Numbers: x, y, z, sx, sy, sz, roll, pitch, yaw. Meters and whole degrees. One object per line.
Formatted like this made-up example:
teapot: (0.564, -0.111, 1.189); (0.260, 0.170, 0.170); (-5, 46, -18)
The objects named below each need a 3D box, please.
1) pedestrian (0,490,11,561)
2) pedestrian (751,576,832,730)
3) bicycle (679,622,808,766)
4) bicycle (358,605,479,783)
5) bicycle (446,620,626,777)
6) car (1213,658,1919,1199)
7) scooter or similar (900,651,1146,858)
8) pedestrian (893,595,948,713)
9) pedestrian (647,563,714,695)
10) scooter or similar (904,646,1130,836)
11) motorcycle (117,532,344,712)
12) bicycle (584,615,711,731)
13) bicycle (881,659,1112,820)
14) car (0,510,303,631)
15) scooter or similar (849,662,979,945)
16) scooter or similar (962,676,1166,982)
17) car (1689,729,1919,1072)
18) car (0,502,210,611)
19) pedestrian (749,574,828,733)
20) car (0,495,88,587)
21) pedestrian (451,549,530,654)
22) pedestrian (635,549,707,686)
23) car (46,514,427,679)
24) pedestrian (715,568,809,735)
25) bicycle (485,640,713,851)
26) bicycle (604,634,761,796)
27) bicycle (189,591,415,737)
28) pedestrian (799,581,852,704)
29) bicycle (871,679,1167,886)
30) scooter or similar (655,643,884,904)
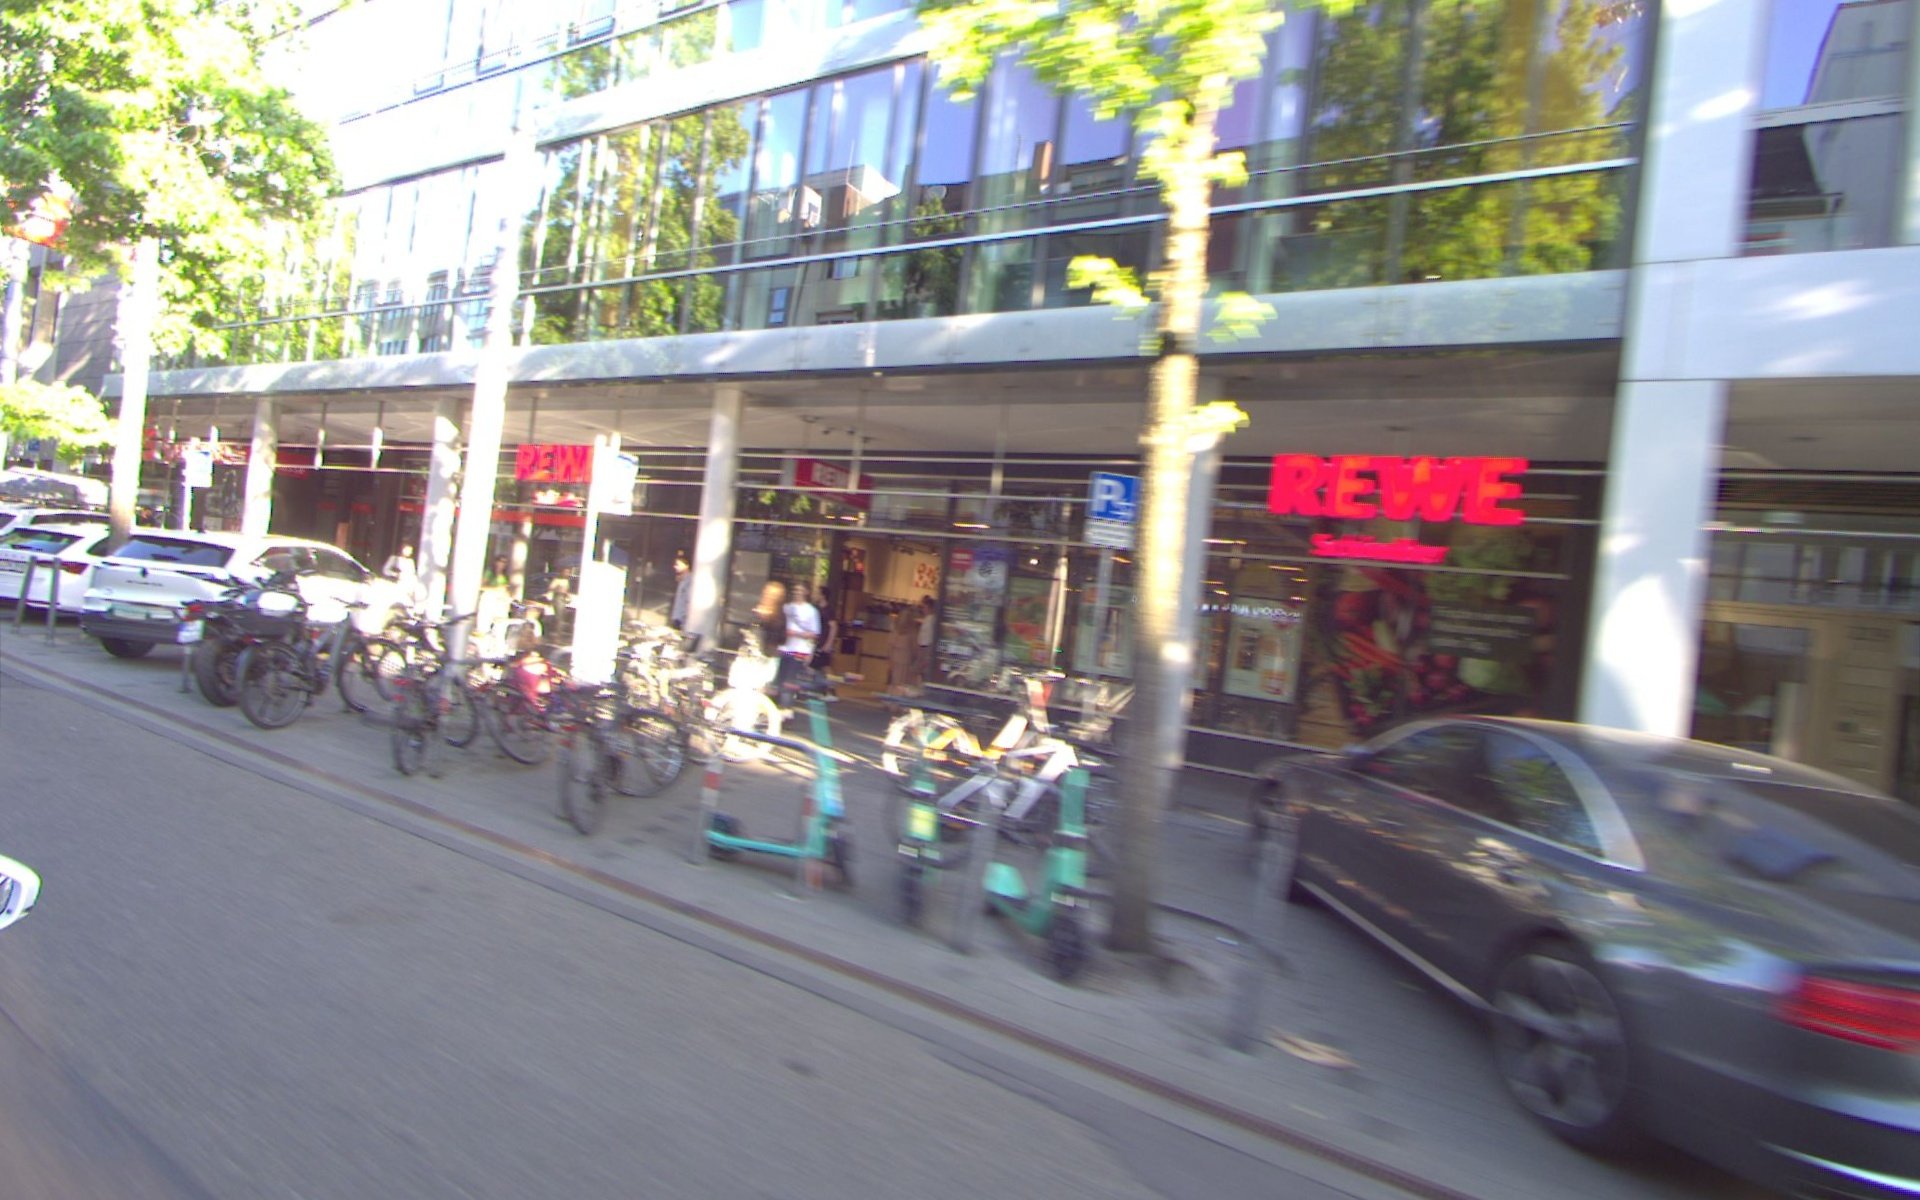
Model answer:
pedestrian: (-23.888, -1.859, 24.587); (0.678, 1.754, 0.630); (5, 2, -16)
pedestrian: (-1.970, 0.624, 11.777); (0.542, 1.716, 0.517); (7, -1, 36)
bicycle: (-2.112, 0.889, 9.994); (0.852, 1.188, 1.269); (7, 2, 1)
bicycle: (-4.267, 0.685, 8.024); (0.474, 1.179, 1.687); (5, 1, -18)
bicycle: (-3.585, 0.785, 8.676); (0.620, 1.120, 1.694); (5, 1, 6)
car: (3.132, 1.329, 5.281); (1.941, 1.488, 5.056); (6, 1, -3)
scooter or similar: (0.440, 1.135, 7.538); (1.650, 1.310, 0.631); (6, 2, -5)
pedestrian: (-0.627, 0.829, 15.785); (0.589, 1.765, 0.625); (6, 1, -10)
pedestrian: (-3.922, 0.405, 14.124); (0.516, 1.773, 0.557); (7, 2, 32)
scooter or similar: (0.437, 1.124, 8.161); (1.650, 1.310, 0.562); (6, 2, -5)
motorcycle: (-7.140, 0.178, 10.031); (0.845, 1.529, 2.314); (5, 1, -11)
bicycle: (-3.480, 0.771, 11.378); (0.620, 1.120, 1.778); (5, 1, 7)
bicycle: (0.290, 1.202, 8.803); (1.855, 1.145, 0.626); (6, 2, -5)
car: (-12.597, -0.403, 15.539); (1.656, 1.518, 4.160); (6, 0, 9)
scooter or similar: (-0.225, 1.078, 5.754); (0.554, 1.293, 1.305); (5, 2, 1)
scooter or similar: (0.503, 1.140, 5.404); (0.452, 1.293, 1.300); (4, 2, -21)
car: (5.572, 1.648, 4.437); (1.897, 1.444, 4.668); (6, 0, 11)
car: (-15.140, -0.733, 16.821); (1.849, 1.607, 4.248); (6, 0, 1)
pedestrian: (-2.004, 0.621, 11.752); (0.550, 1.773, 0.523); (7, 2, 34)
car: (-18.708, -1.187, 18.347); (1.663, 1.673, 4.355); (6, 0, 1)
pedestrian: (-7.882, 0.030, 16.896); (0.868, 1.644, 0.714); (7, 1, 33)
pedestrian: (-4.293, 0.263, 14.959); (0.653, 1.943, 0.583); (7, 2, 34)
car: (-8.940, -0.051, 12.975); (1.820, 1.591, 4.157); (6, 0, -1)
pedestrian: (-2.158, 0.568, 11.029); (0.540, 1.716, 0.681); (7, -1, 20)
bicycle: (-2.402, 0.921, 6.929); (0.853, 1.102, 1.562); (7, 2, 2)
bicycle: (-2.330, 0.925, 8.668); (0.719, 1.089, 1.673); (7, 2, 2)
bicycle: (-5.896, 0.529, 9.173); (0.655, 1.134, 1.896); (5, 1, 3)
pedestrian: (-2.030, 0.627, 15.175); (0.589, 1.765, 0.625); (6, 1, -7)
bicycle: (0.371, 1.208, 6.766); (1.816, 1.122, 0.551); (6, 2, -4)
scooter or similar: (-1.160, 0.972, 6.021); (1.285, 1.293, 0.451); (6, 3, 31)
